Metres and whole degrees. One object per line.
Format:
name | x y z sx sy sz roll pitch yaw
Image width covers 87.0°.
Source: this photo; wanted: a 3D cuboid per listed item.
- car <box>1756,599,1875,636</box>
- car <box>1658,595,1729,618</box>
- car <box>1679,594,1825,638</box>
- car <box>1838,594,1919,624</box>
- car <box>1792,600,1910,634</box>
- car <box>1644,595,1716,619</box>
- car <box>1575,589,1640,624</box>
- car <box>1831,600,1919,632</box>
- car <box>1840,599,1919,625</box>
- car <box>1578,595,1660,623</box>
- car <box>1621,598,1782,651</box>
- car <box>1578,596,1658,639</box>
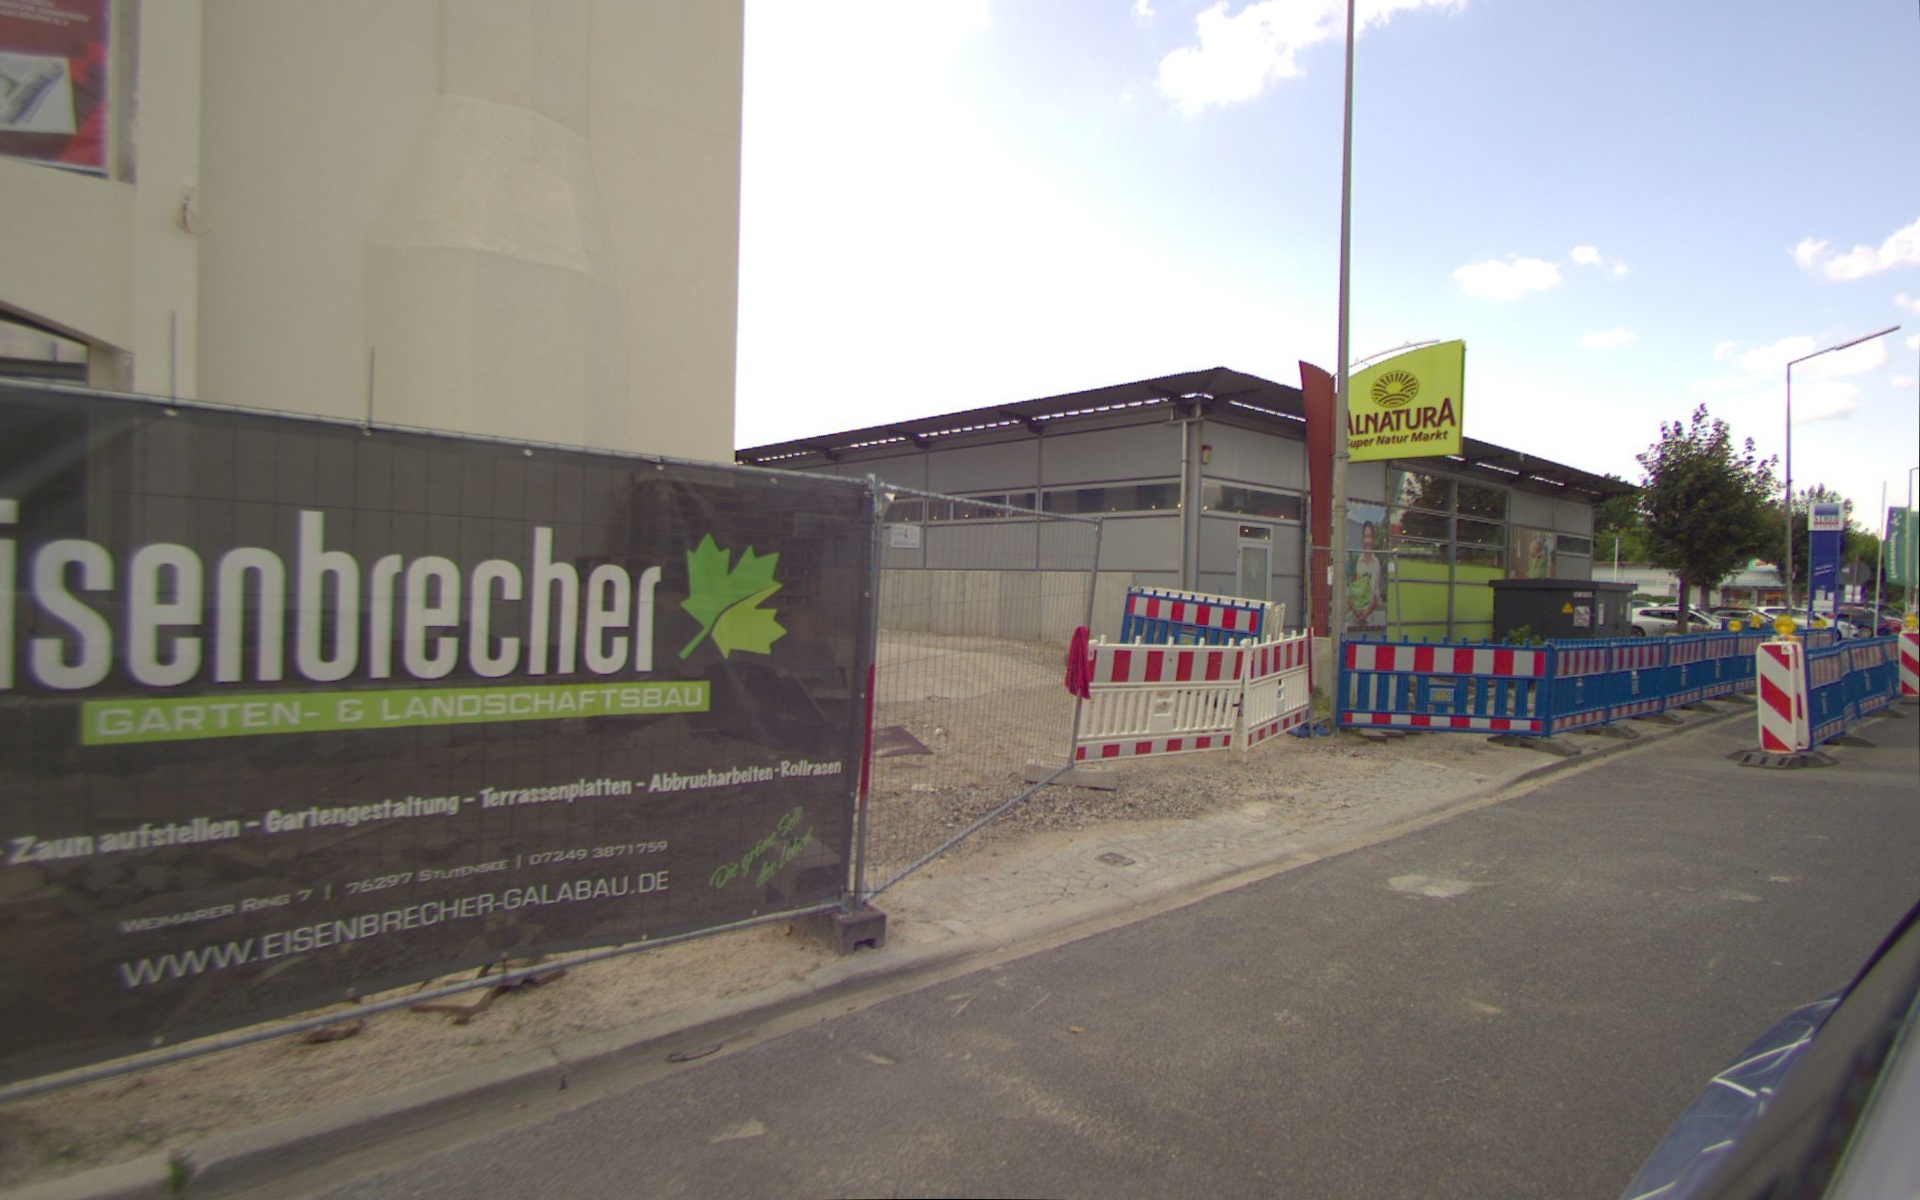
car | 39.097 0.769 46.315 1.767 1.428 3.957 1 3 -44
car | 53.696 0.464 74.153 1.696 1.502 3.940 1 2 -44
car | 30.901 0.573 39.573 1.774 1.448 4.190 1 2 -40
car | 62.778 0.613 68.446 1.870 1.810 4.902 1 2 -42
car | 45.051 0.832 51.251 1.815 1.461 4.314 1 2 -43
car | 51.778 0.464 72.786 1.696 1.502 3.940 1 2 -44
car | 29.988 0.302 46.828 3.691 1.538 1.720 1 1 -44
car | 50.799 0.859 55.948 3.885 1.541 1.721 3 2 44
car | 60.895 0.755 66.955 1.624 1.517 3.820 1 2 -40
car | 41.018 0.550 63.059 1.712 1.502 3.986 1 2 -44
car | 25.245 0.782 34.561 1.956 1.481 4.110 1 2 -42
car | 25.644 0.639 39.593 1.666 1.428 4.360 0 2 20
